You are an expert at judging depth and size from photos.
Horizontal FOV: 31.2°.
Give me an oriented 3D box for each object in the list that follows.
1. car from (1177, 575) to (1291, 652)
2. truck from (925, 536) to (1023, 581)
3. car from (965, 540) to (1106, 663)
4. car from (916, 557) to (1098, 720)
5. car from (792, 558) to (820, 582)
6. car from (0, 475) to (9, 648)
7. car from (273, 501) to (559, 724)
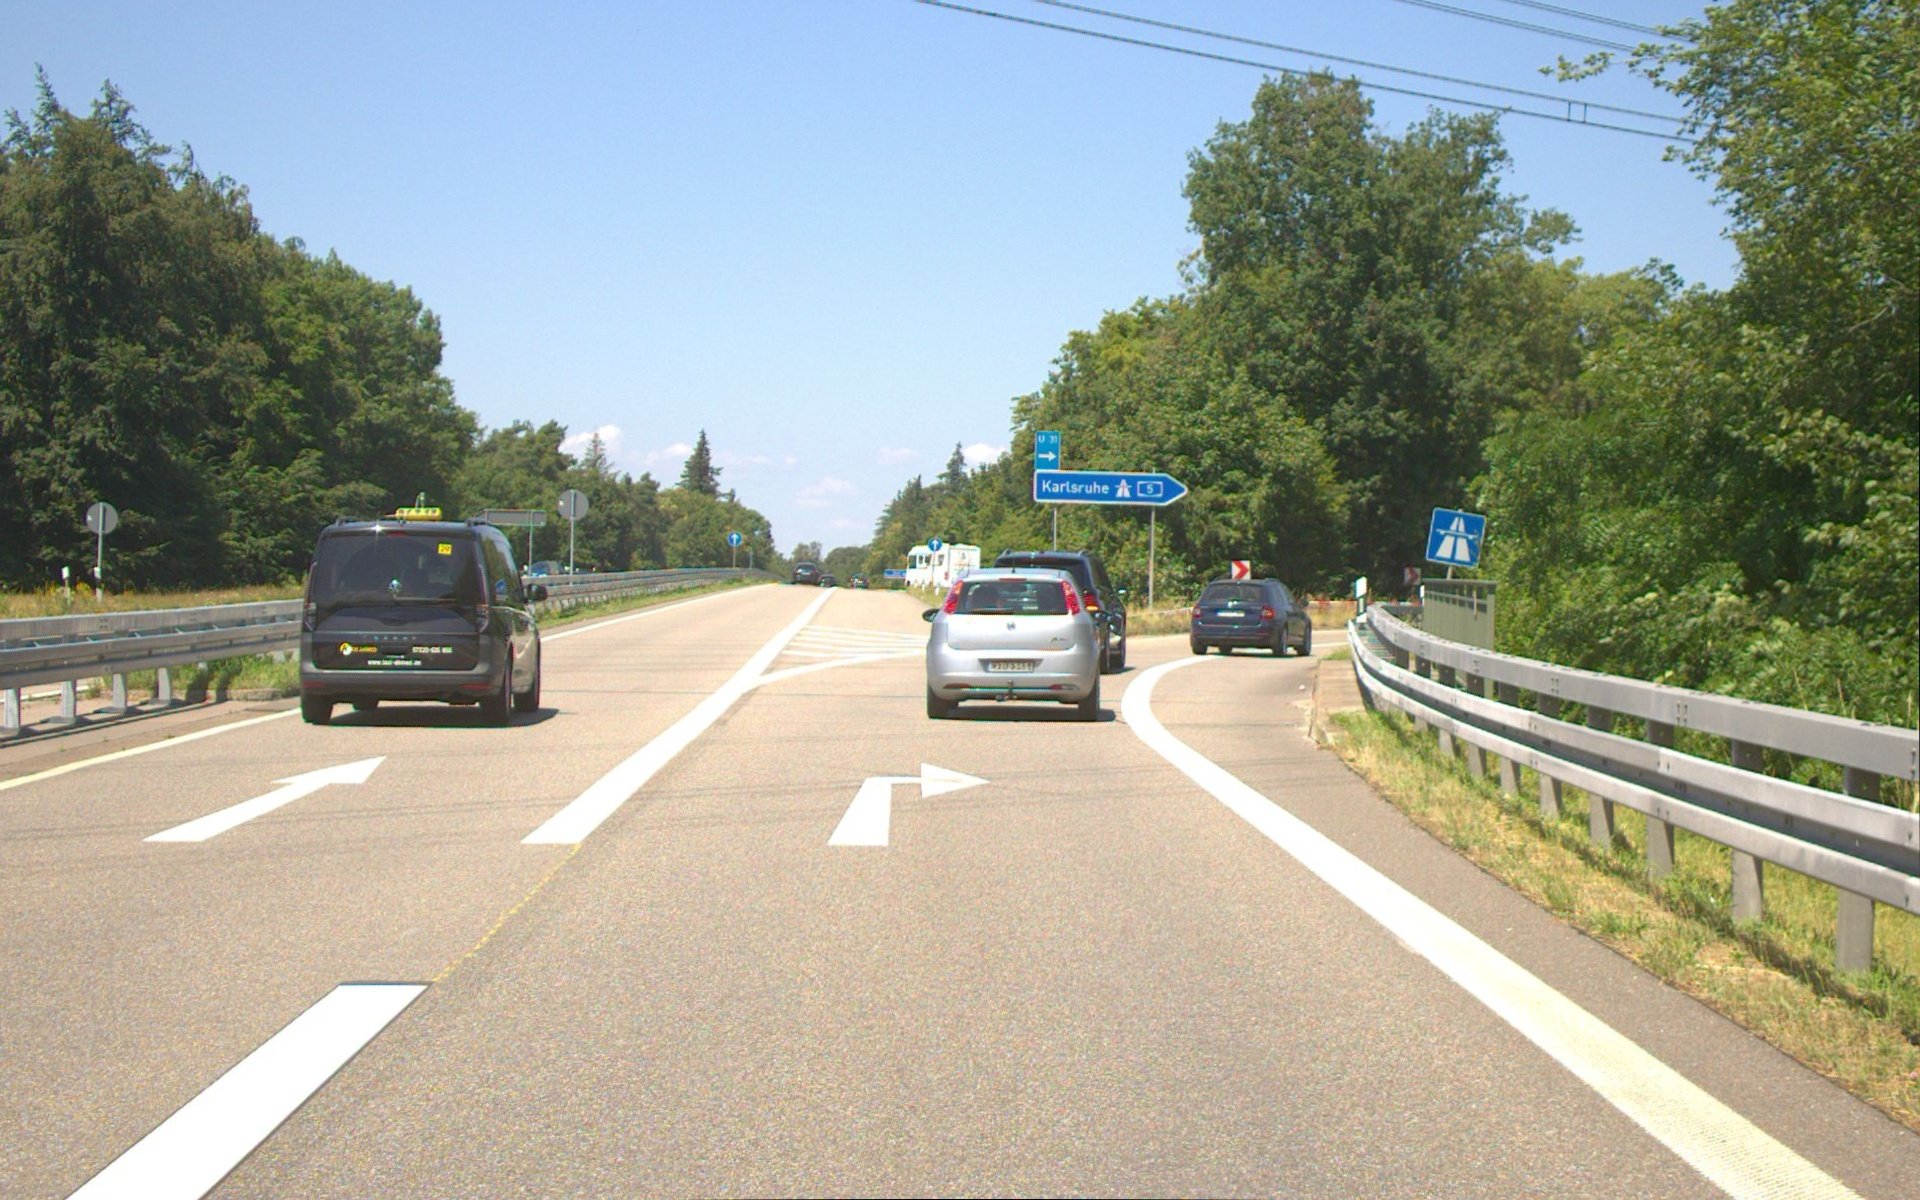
[{"bbox_3d":[5.206,0.243,64.974,1.641,1.338,3.572,3,1,12],"label":"car"},{"bbox_3d":[0.894,-2.513,208.446,2.622,2.633,7.654,1,1,29],"label":"truck"},{"bbox_3d":[1.141,0.005,50.328,1.641,1.648,3.573,3,1,7],"label":"car"},{"bbox_3d":[0.510,0.346,34.267,1.640,1.463,3.419,3,1,2],"label":"car"},{"bbox_3d":[-10.154,-2.001,227.193,1.712,1.466,3.574,3,1,-1],"label":"car"},{"bbox_3d":[-15.719,-0.521,48.842,2.524,2.609,7.186,-1,1,-1],"label":"car"},{"bbox_3d":[-4.931,0.073,31.908,1.854,1.880,5.574,0,1,-1],"label":"car"}]
